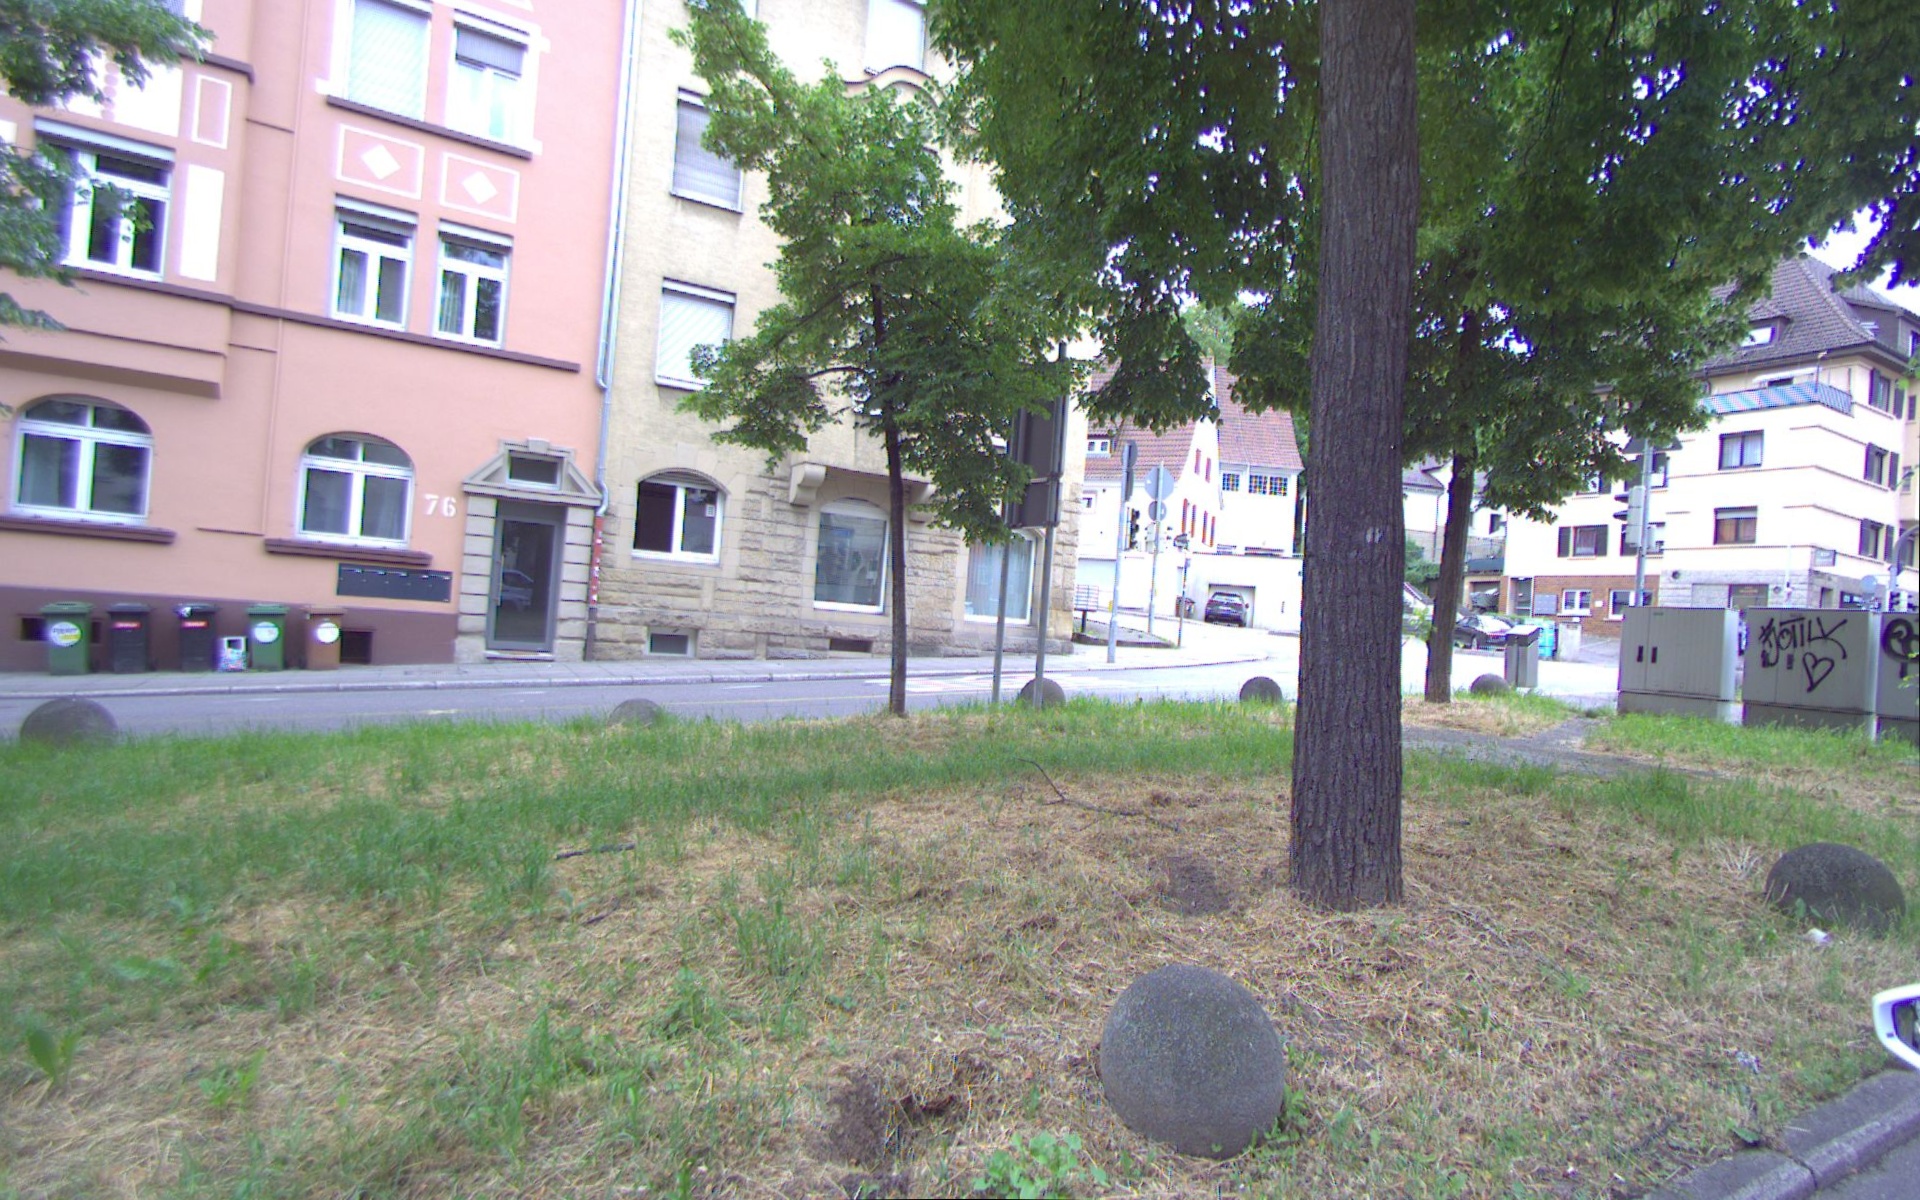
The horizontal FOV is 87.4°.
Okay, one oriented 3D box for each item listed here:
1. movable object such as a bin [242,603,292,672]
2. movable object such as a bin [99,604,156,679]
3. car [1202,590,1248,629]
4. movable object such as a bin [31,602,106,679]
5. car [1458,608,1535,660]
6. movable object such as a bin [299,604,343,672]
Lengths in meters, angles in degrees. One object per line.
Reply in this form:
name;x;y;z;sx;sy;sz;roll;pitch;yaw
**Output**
movable object such as a bin;-9.811;0.524;14.236;0.554;0.934;0.649;2;0;-34
movable object such as a bin;-11.154;0.549;13.476;0.528;0.958;0.576;2;0;-36
car;11.780;0.381;44.840;1.638;1.424;3.058;7;3;11
movable object such as a bin;-11.650;0.521;13.144;0.611;0.961;0.613;2;0;-31
car;21.883;1.337;41.143;1.832;1.619;3.519;2;6;13
movable object such as a bin;-9.272;0.542;14.569;0.510;0.934;0.752;2;0;-34
